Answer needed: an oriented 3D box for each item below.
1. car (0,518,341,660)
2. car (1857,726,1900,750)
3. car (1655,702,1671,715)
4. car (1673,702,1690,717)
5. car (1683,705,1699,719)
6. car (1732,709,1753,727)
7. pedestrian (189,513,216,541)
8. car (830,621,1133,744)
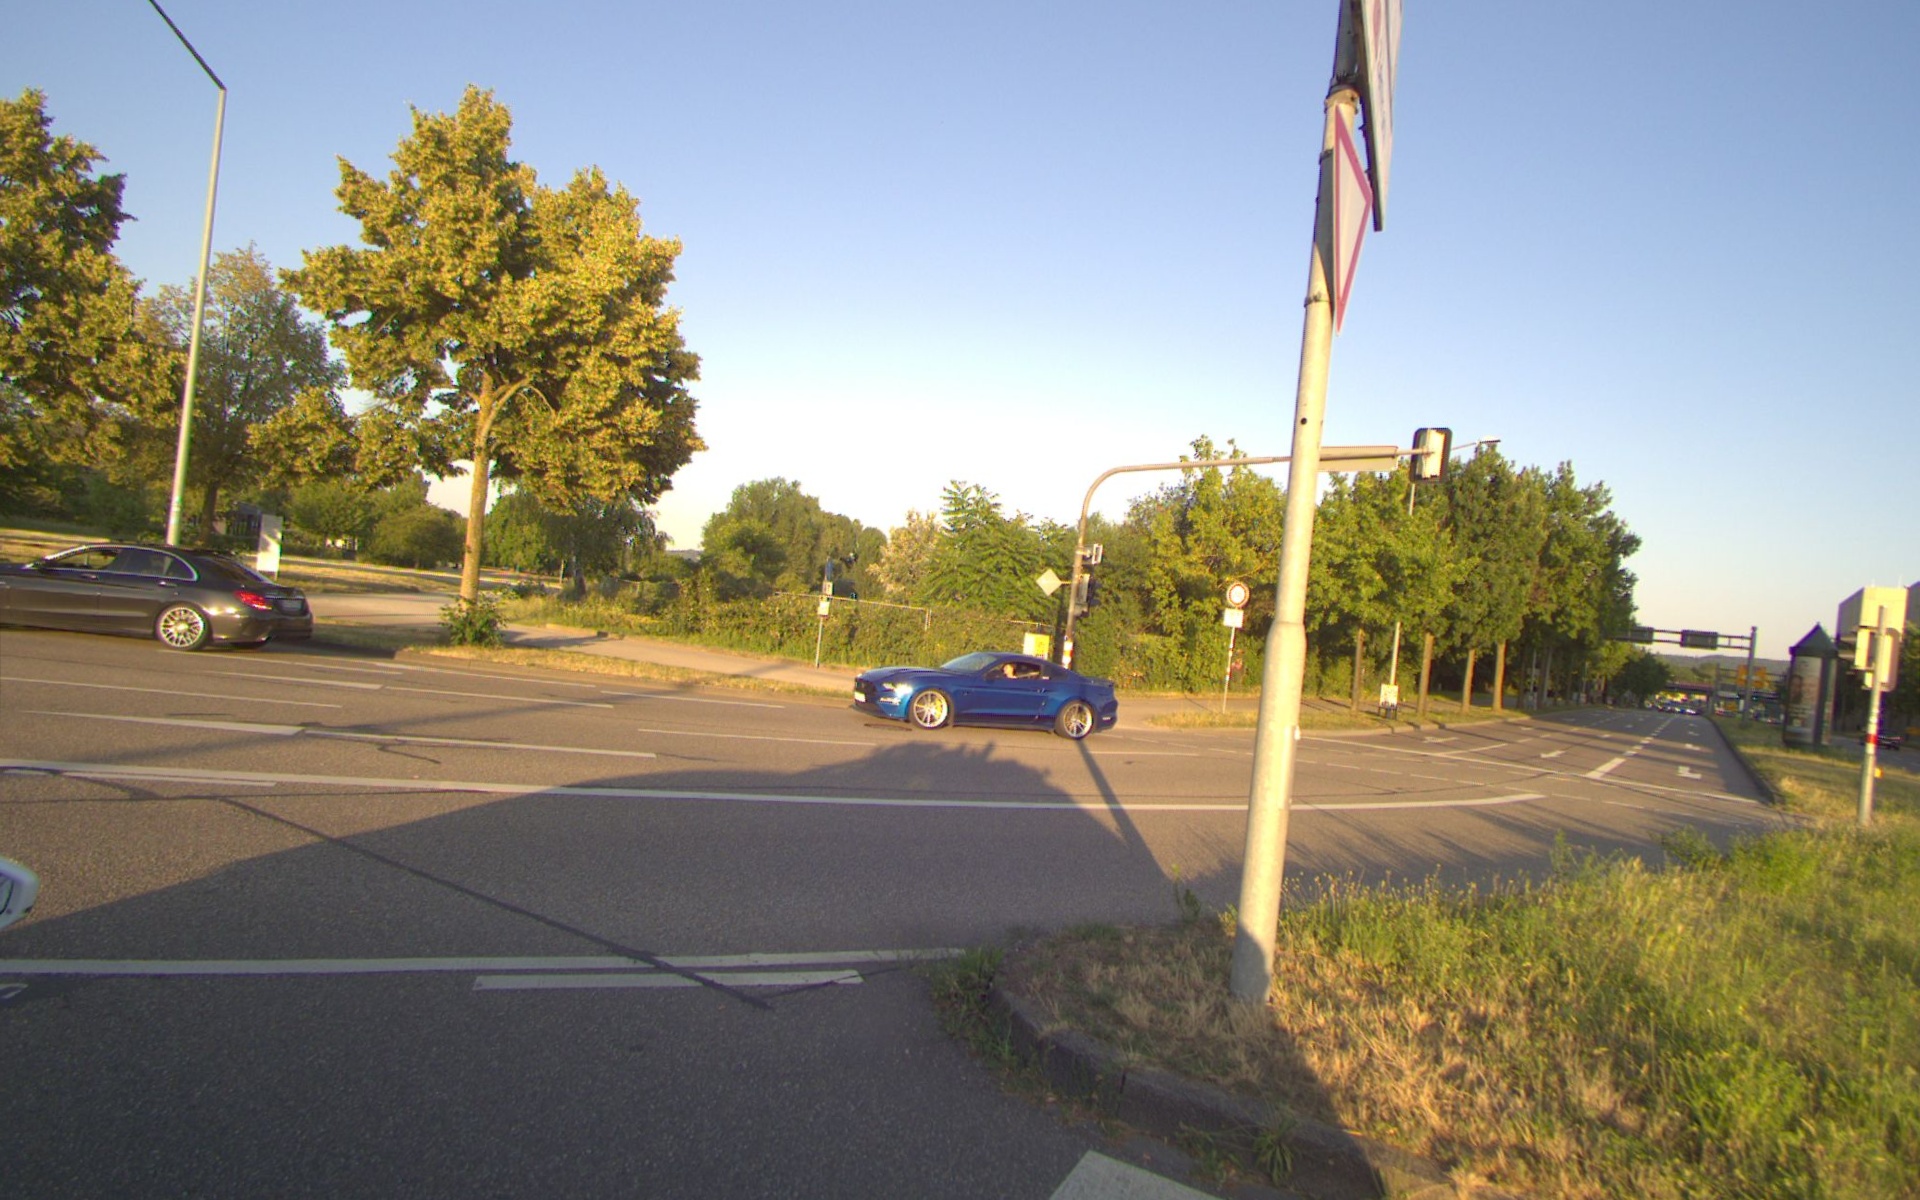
[{"bbox_3d":[-11.977,-0.172,14.593,4.542,1.522,1.999,7,-2,-9],"label":"car"},{"bbox_3d":[65.747,9.855,72.058,1.724,1.395,4.114,6,-2,36],"label":"car"},{"bbox_3d":[118.535,18.311,169.691,1.968,1.801,3.993,6,-2,34],"label":"car"},{"bbox_3d":[113.210,17.144,157.772,1.970,2.037,3.989,6,-2,37],"label":"car"},{"bbox_3d":[122.413,18.747,168.466,1.969,2.037,3.991,6,-2,35],"label":"car"},{"bbox_3d":[101.273,15.313,130.192,1.971,2.038,3.984,6,-1,39],"label":"car"},{"bbox_3d":[-48.863,-4.725,64.877,0.896,1.637,1.069,7,0,36],"label":"pedestrian"},{"bbox_3d":[0.388,1.421,17.244,4.713,1.523,1.988,7,-1,-26],"label":"car"}]
